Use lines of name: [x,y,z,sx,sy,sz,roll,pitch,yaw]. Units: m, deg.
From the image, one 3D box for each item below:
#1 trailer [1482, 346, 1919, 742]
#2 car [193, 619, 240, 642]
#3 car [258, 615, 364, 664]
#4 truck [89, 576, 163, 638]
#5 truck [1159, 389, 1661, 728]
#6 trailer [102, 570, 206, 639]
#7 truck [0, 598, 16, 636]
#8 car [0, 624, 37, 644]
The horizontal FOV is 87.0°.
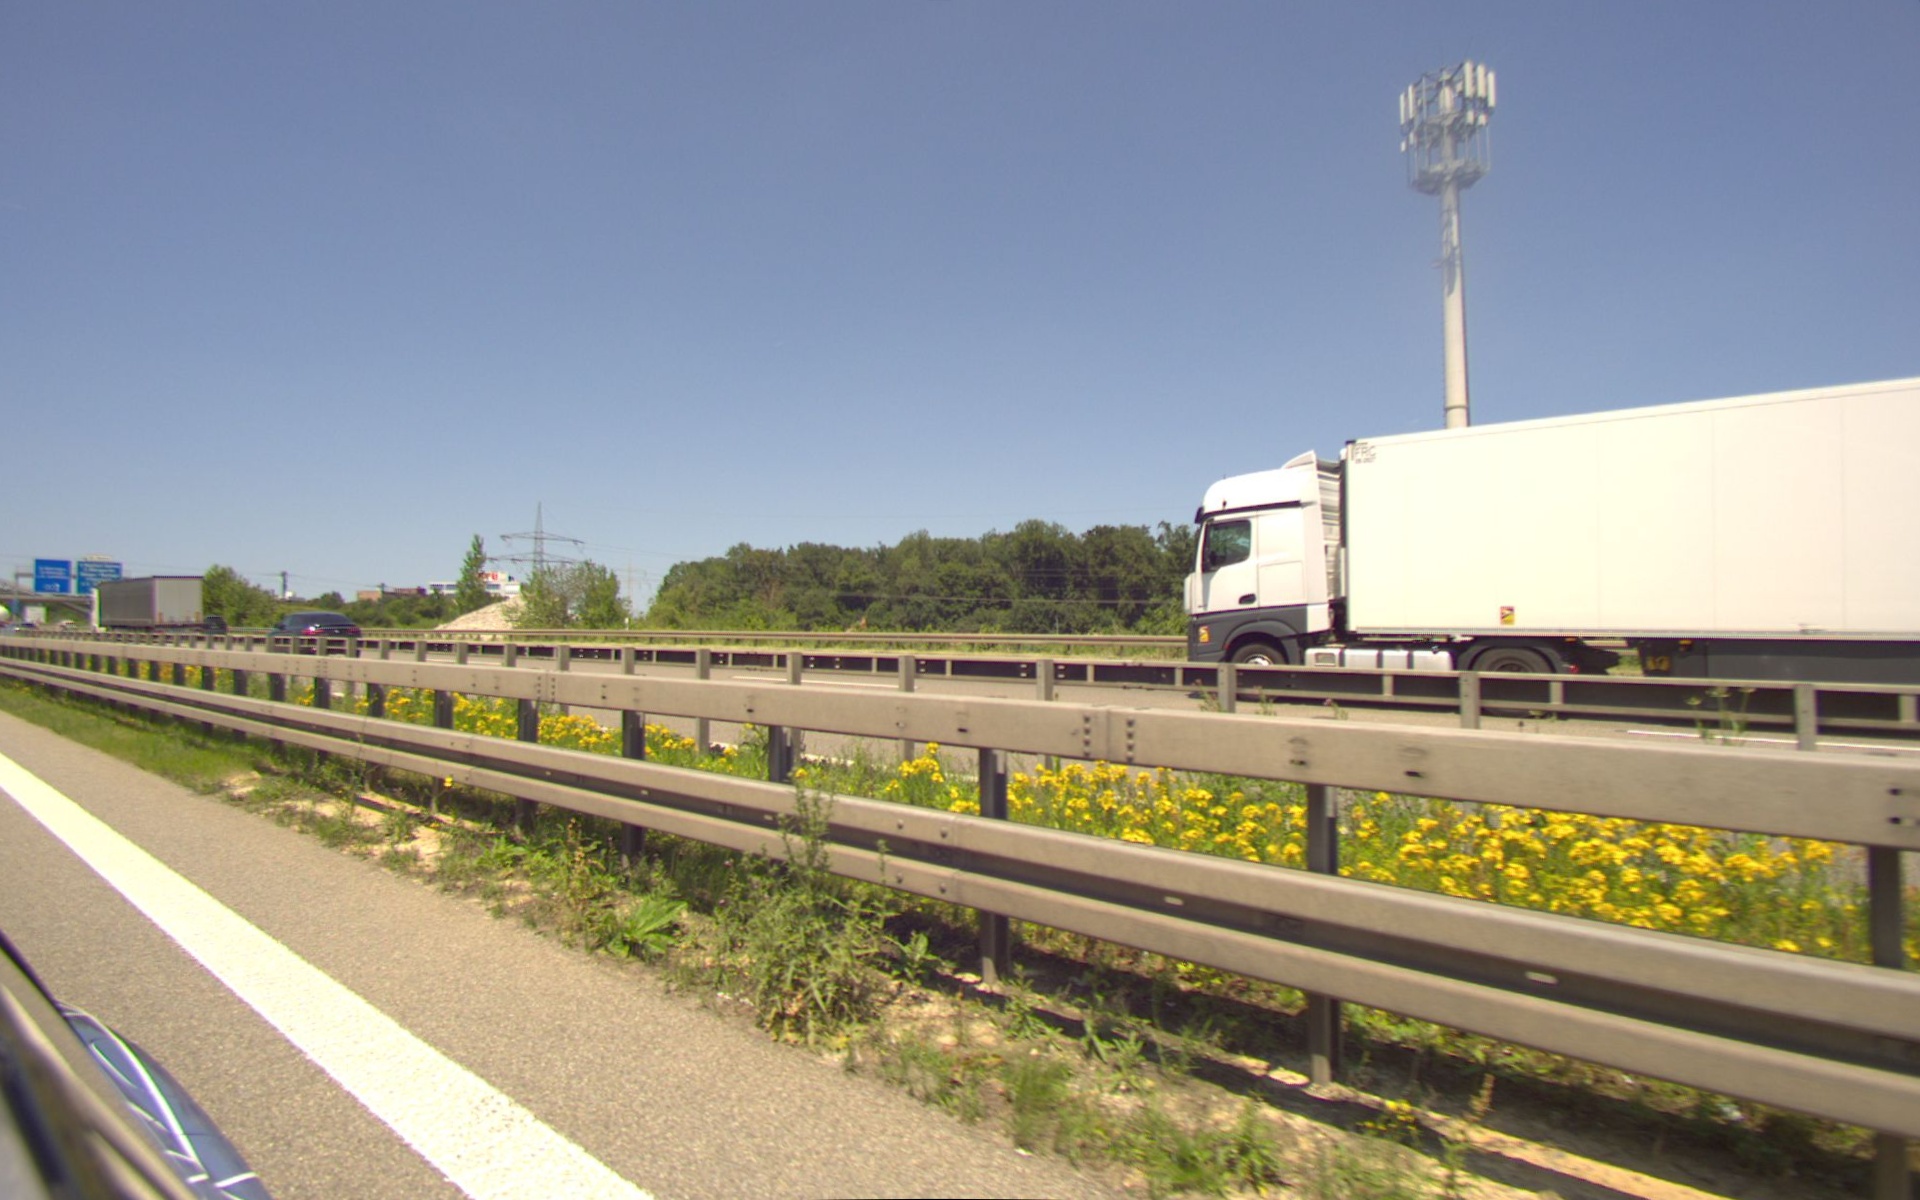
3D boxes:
trailer: [12.701,-0.638,10.842,12.244,4.272,3.003,-1,-1,42]
car: [-54.315,2.218,73.914,3.996,1.626,1.859,-1,-1,40]
car: [-23.427,1.382,36.471,4.661,1.657,1.973,-1,-1,41]
truck: [-57.893,0.522,70.184,6.379,4.148,2.852,-1,-1,40]
truck: [6.888,-0.468,16.118,6.682,4.272,3.003,-1,-1,42]
trailer: [-52.171,0.376,65.337,12.575,4.144,2.861,-1,-1,40]
truck: [-102.345,1.812,106.023,12.884,3.814,3.188,-1,-1,38]
car: [-70.200,2.534,75.331,4.494,1.371,1.689,-1,-1,40]
